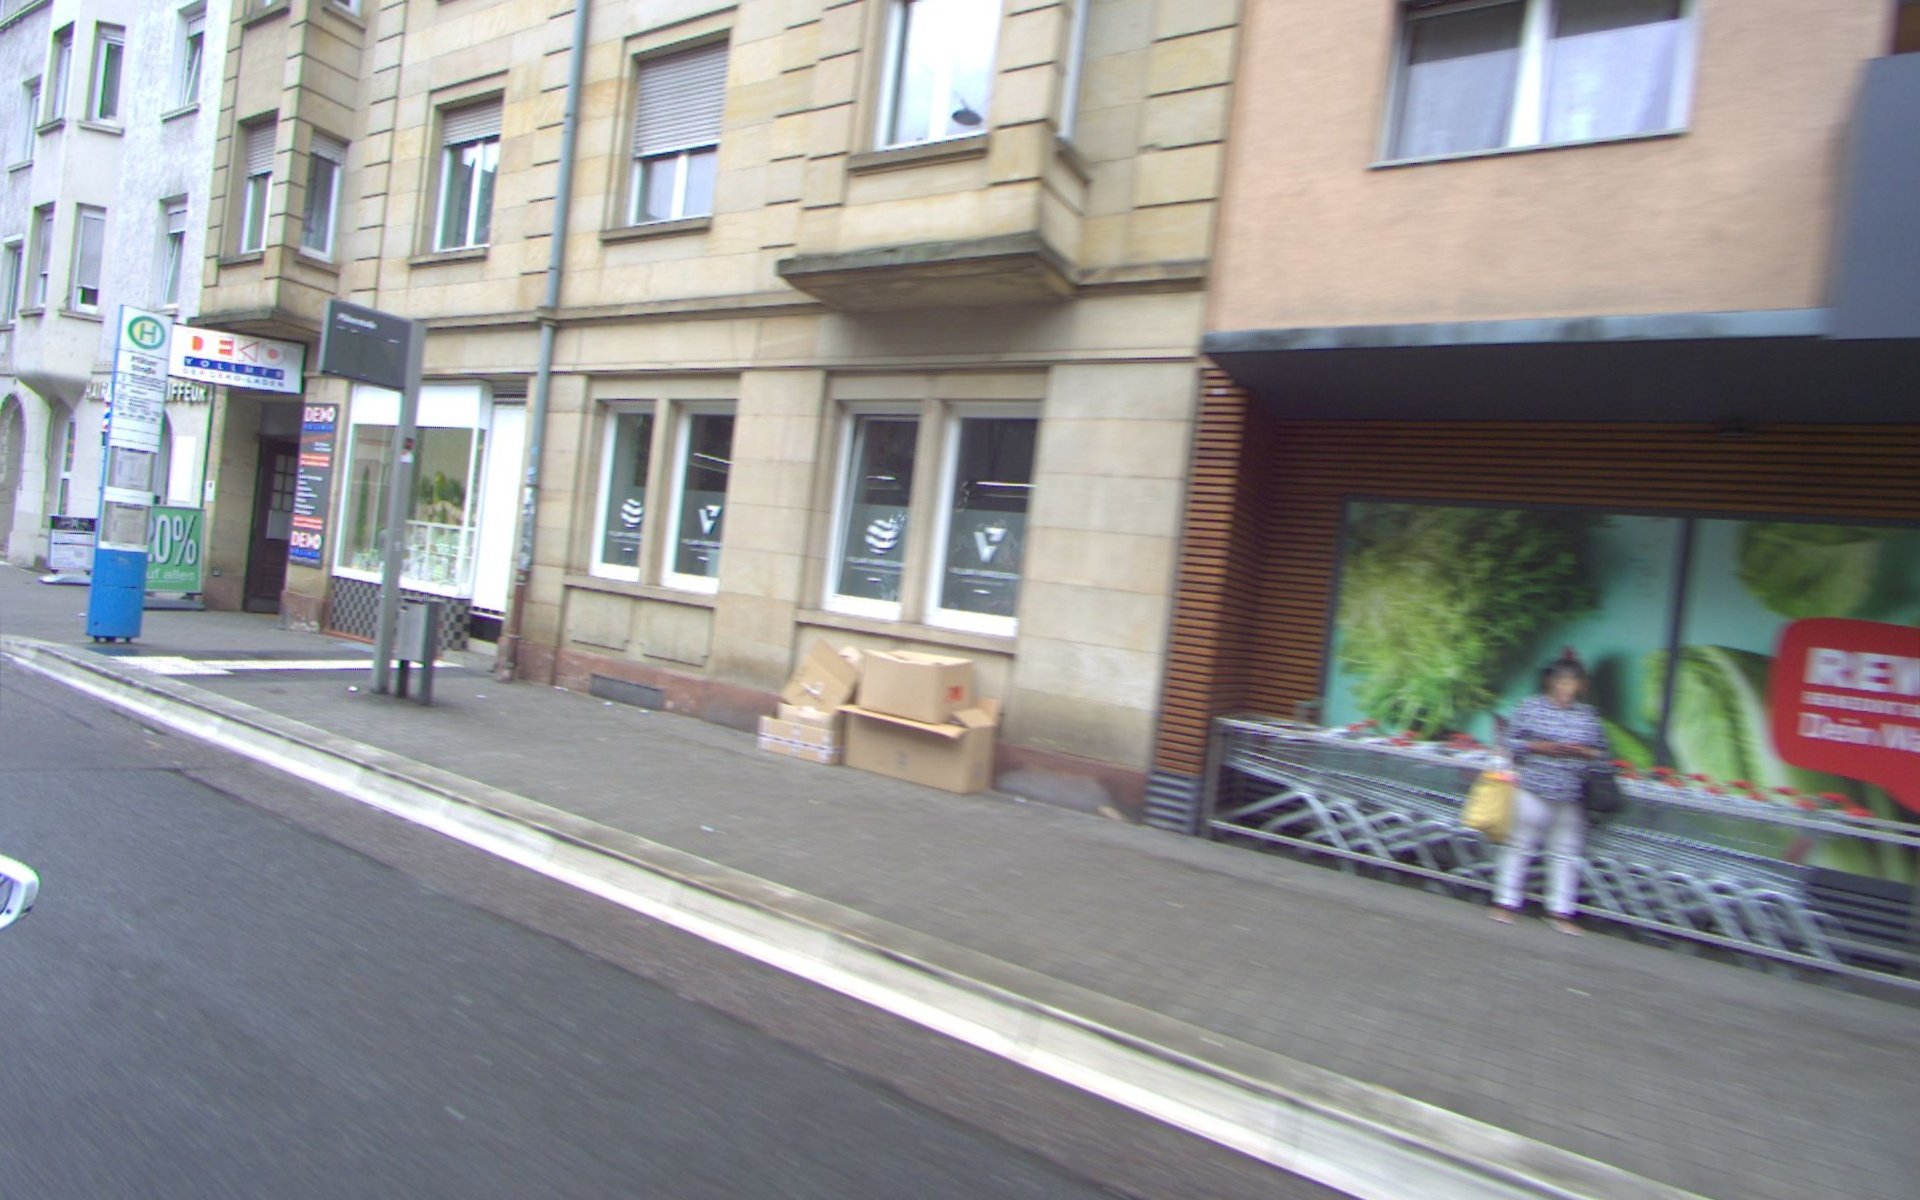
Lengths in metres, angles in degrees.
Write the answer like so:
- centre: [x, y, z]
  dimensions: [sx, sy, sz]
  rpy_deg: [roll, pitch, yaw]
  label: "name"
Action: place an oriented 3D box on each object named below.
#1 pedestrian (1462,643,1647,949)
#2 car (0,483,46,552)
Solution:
- centre: [3.398, 1.082, 5.803]
  dimensions: [0.615, 1.592, 0.563]
  rpy_deg: [7, 1, 15]
  label: "pedestrian"
- centre: [-27.820, -2.515, 27.279]
  dimensions: [1.846, 1.793, 4.137]
  rpy_deg: [7, -1, 39]
  label: "car"
